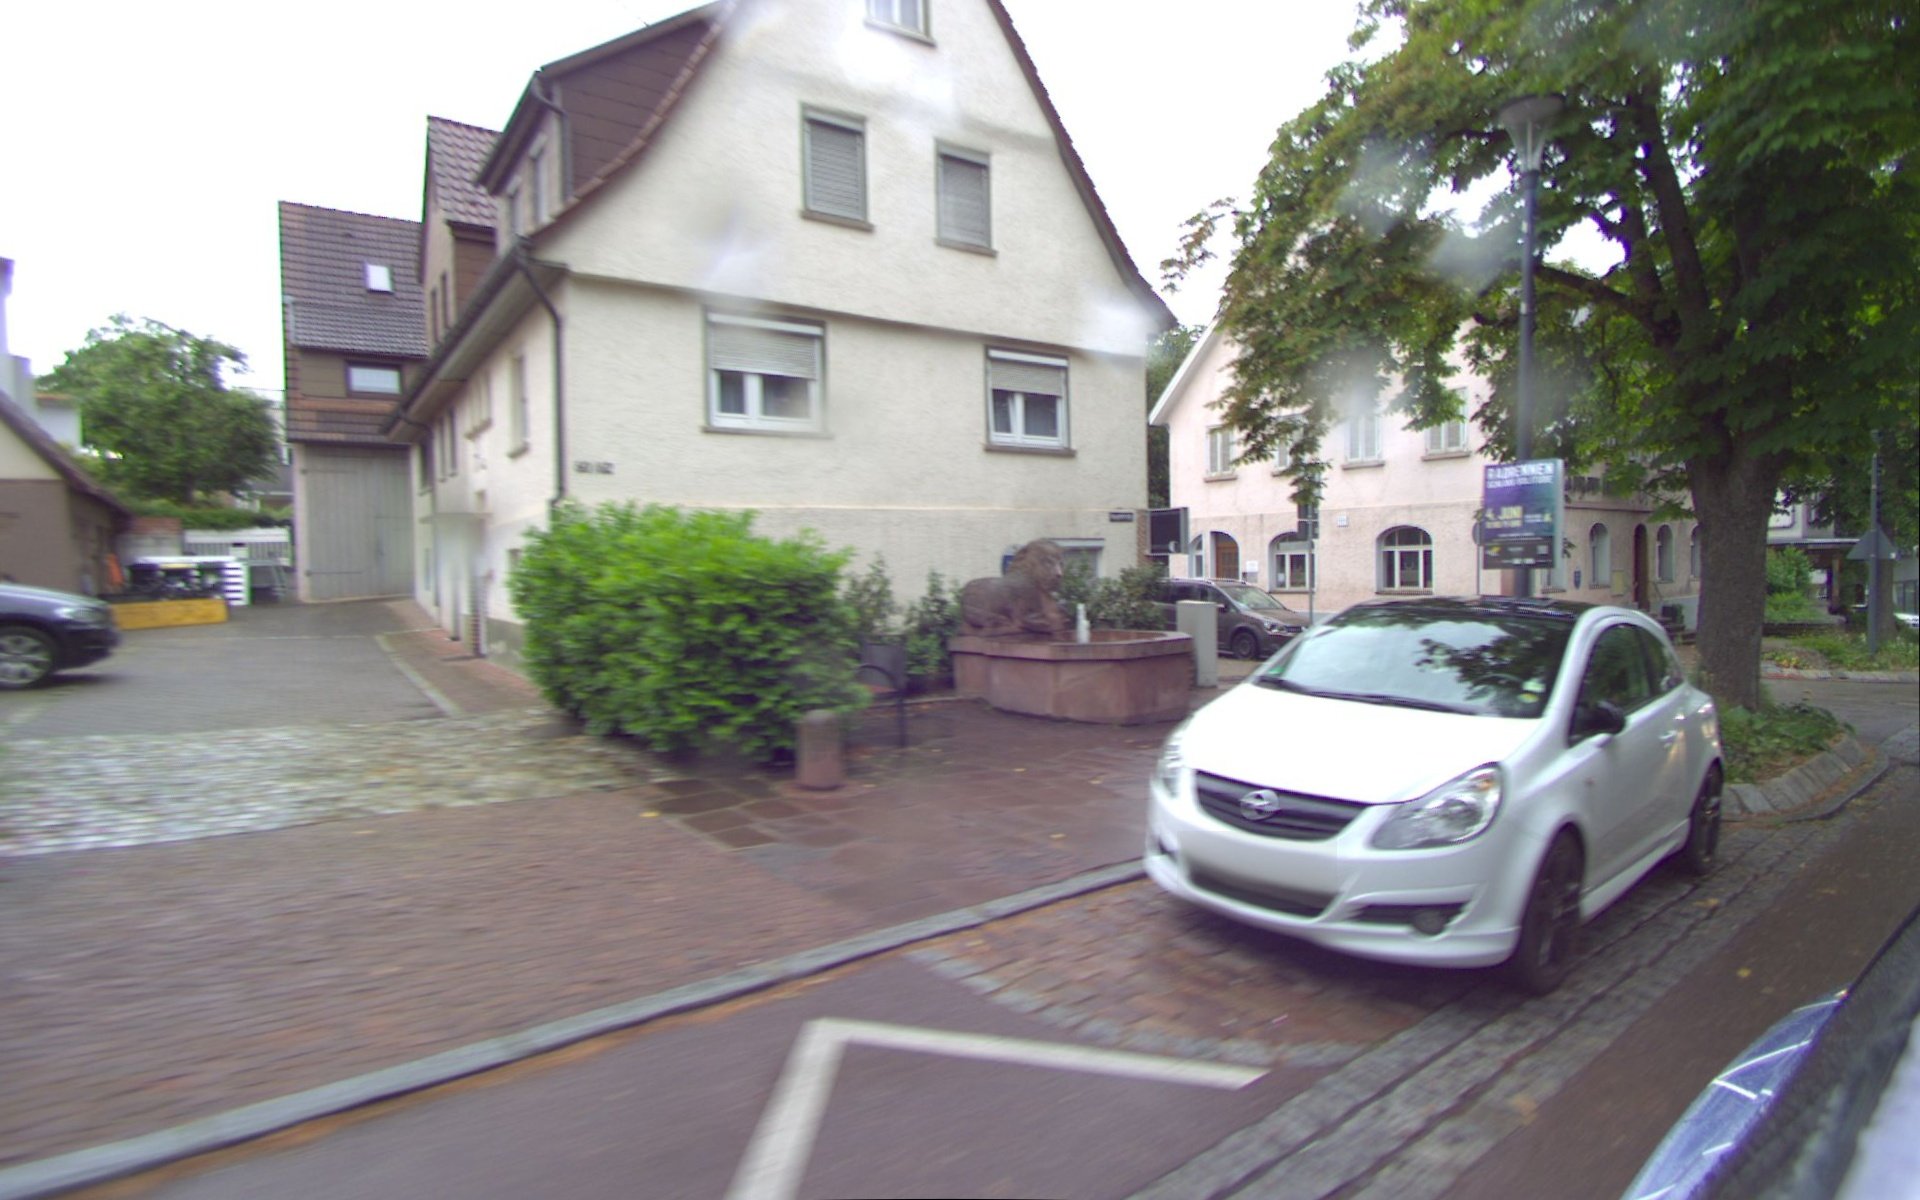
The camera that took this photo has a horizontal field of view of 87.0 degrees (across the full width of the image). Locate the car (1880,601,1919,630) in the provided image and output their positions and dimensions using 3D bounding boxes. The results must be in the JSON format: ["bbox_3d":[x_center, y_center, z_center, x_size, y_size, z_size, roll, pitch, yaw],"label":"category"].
[{"bbox_3d":[50.076,0.819,51.784,1.798,1.478,4.265,1,-1,-41],"label":"car"}]

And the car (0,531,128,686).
[{"bbox_3d":[-12.009,0.043,11.162,4.259,1.700,1.896,1,1,-38],"label":"car"}]

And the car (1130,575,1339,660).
[{"bbox_3d":[5.802,0.297,21.865,1.805,1.603,4.196,0,2,-34],"label":"car"}]

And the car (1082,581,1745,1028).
[{"bbox_3d":[2.490,0.632,5.115,3.730,1.417,1.683,0,1,-42],"label":"car"}]
